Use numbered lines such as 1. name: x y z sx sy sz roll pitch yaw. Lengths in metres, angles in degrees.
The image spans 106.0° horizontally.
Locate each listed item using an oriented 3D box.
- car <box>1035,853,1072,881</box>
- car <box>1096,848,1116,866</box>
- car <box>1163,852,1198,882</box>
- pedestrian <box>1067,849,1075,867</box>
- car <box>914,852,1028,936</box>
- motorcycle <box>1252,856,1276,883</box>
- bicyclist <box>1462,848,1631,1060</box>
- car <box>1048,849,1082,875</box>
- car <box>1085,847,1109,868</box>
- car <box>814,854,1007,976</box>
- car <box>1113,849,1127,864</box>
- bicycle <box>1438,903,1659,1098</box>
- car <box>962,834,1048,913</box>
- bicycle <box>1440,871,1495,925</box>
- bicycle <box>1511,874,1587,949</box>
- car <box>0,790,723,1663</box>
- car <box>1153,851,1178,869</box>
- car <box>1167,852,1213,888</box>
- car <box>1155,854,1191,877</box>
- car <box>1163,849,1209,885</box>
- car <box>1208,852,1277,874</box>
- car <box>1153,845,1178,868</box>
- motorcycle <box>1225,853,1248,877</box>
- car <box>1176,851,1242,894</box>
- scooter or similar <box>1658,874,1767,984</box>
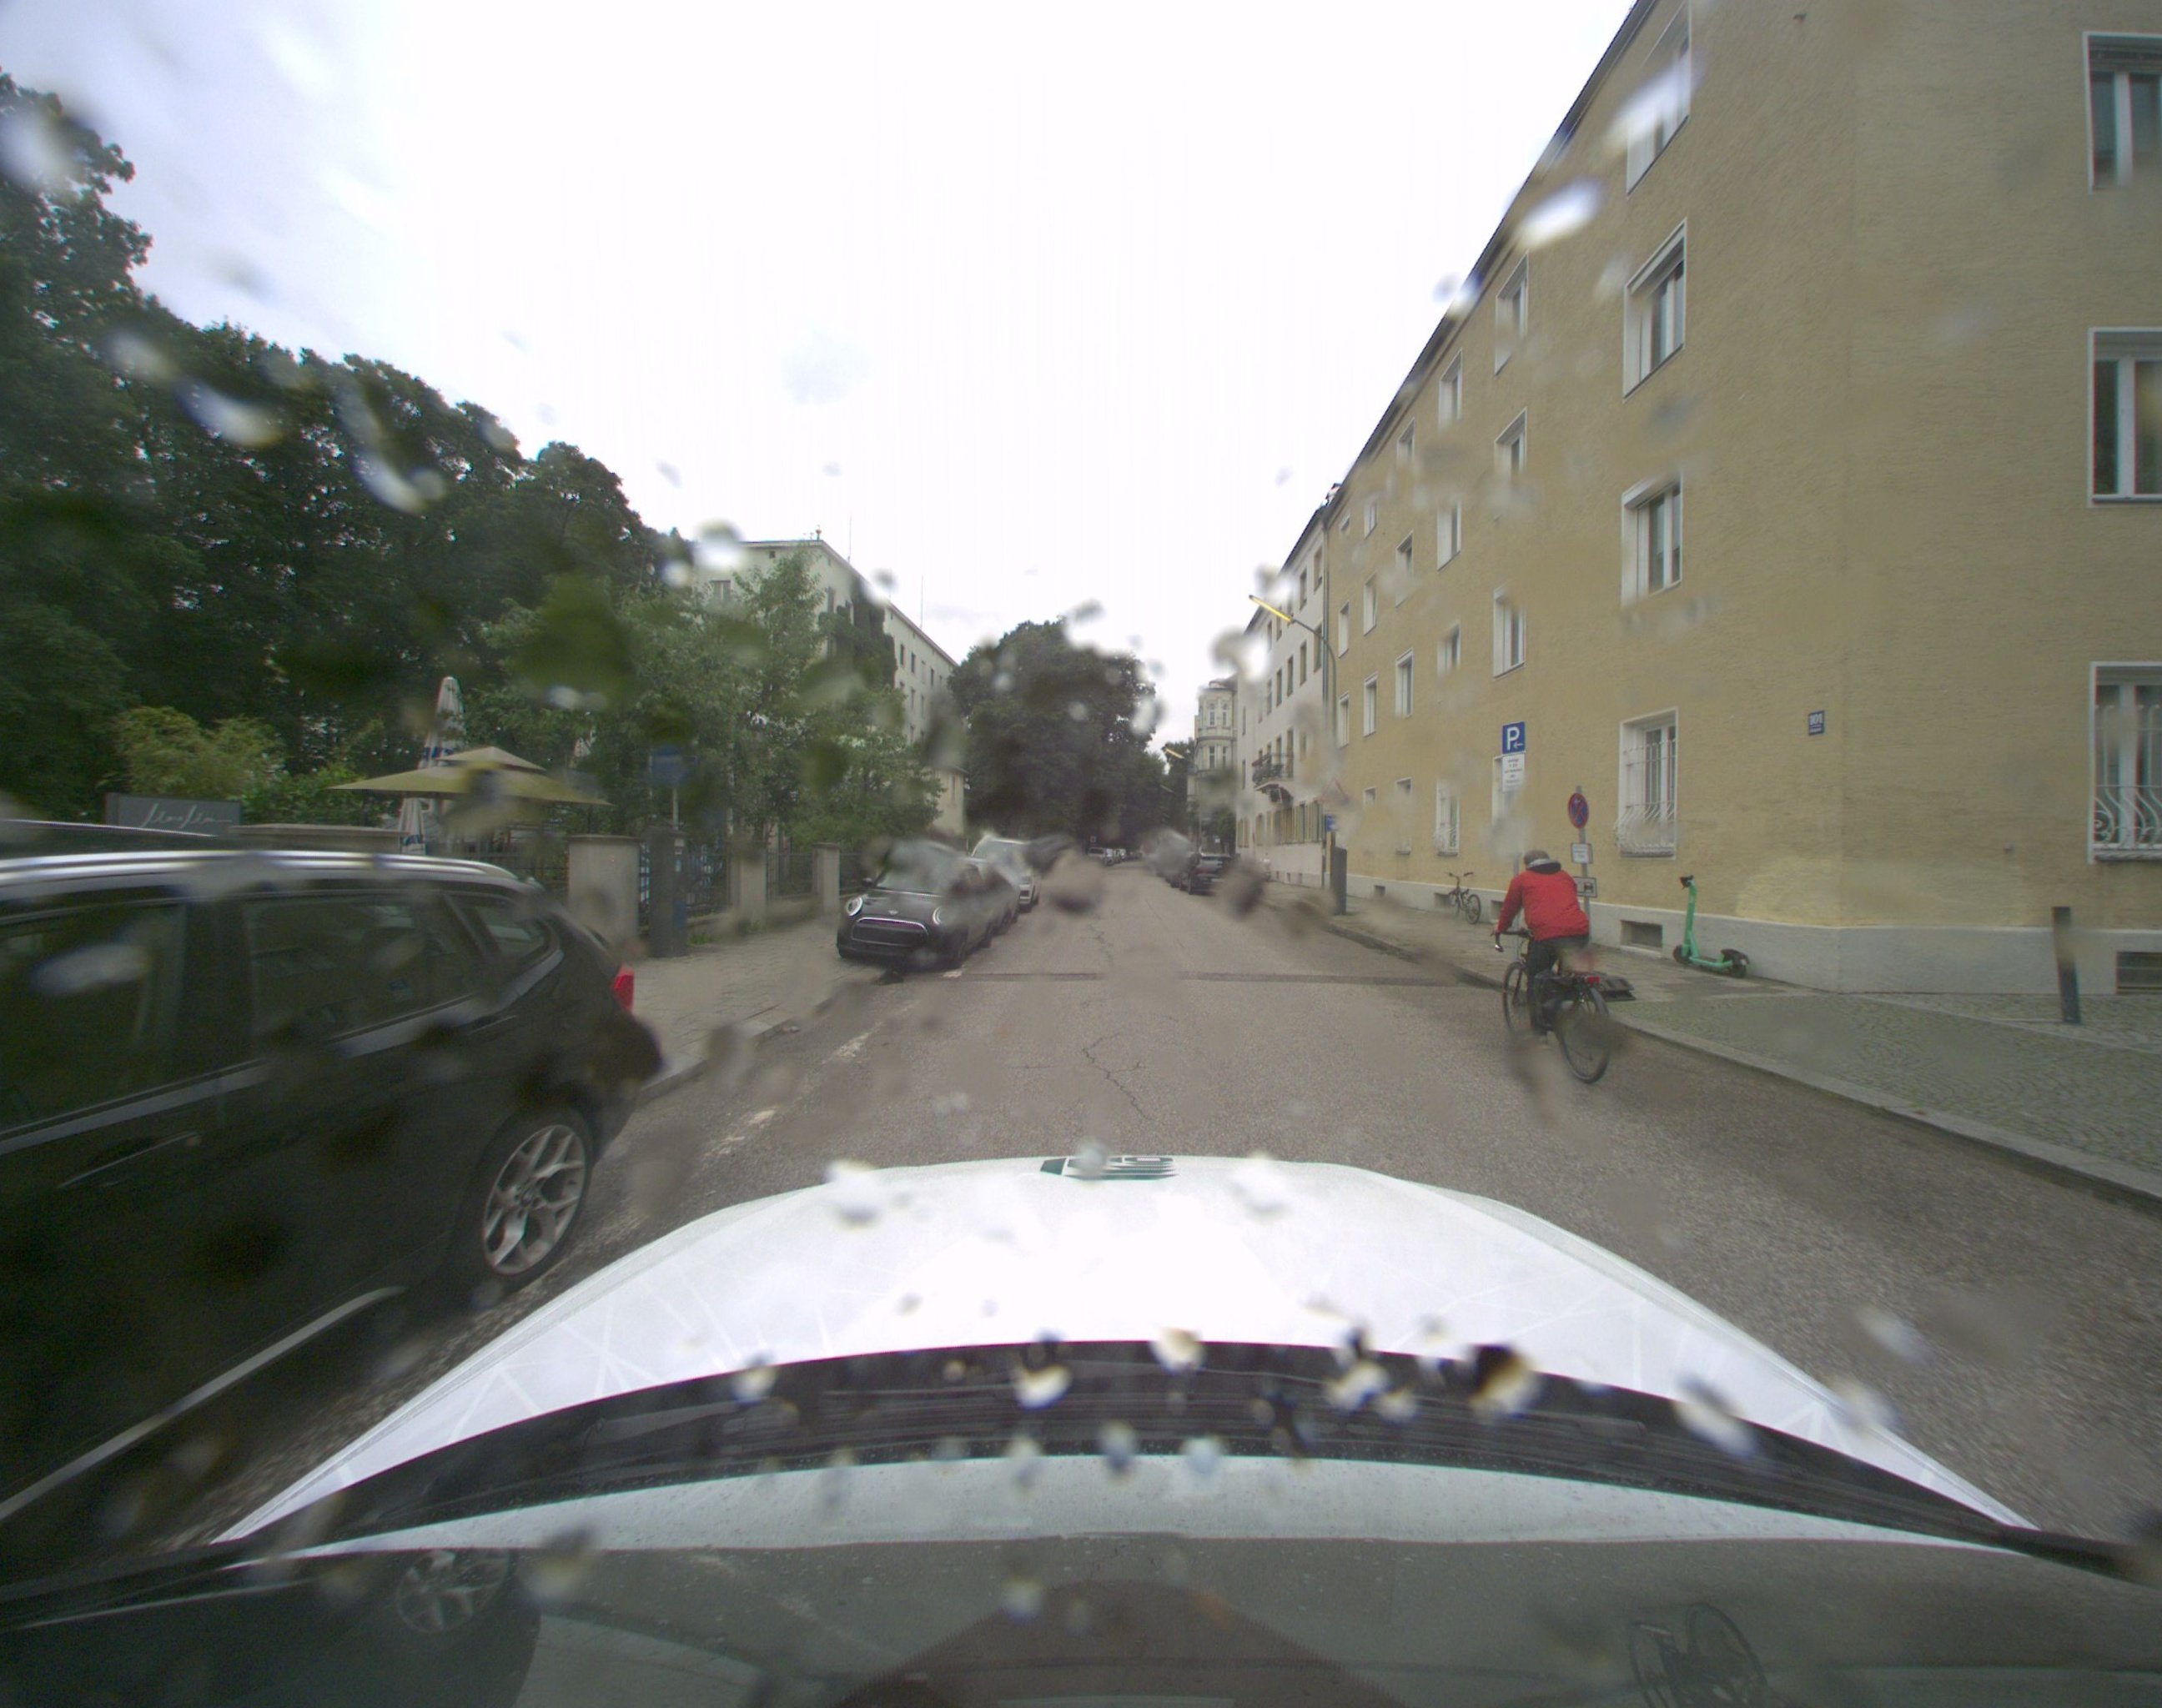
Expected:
1. car: -1.441 0.650 44.418 1.801 1.402 4.923 2 0 0
2. car: 2.956 0.372 93.917 2.175 1.956 5.169 2 0 2
3. car: 5.835 0.722 47.961 1.762 1.546 3.716 5 0 5
4. pedestrian: -0.896 0.375 74.501 0.711 1.548 0.752 2 0 -1
5. car: -2.218 0.750 17.663 1.881 1.543 4.694 1 0 -1
6. motorcycle: 9.021 0.745 40.175 0.729 1.239 2.008 2 0 1
7. bicyclist: 3.545 0.713 6.293 0.751 1.483 0.982 2 0 4
8. car: -1.019 0.498 54.151 1.880 1.590 4.530 2 0 2
9. car: 1.701 0.314 82.242 2.239 1.956 5.456 2 0 2
10. car: -2.385 0.789 12.574 1.851 1.544 4.191 -1 0 3
11. car: 6.091 0.412 126.825 1.993 2.186 4.701 2 0 4
12. bicycle: 3.523 1.024 6.374 0.669 1.141 2.013 2 0 4
13. car: -2.068 0.499 23.639 1.960 1.990 5.151 2 0 0
14. bicycle: 8.407 0.922 17.773 0.341 1.082 1.814 -2 0 2
15. bicycle: 7.959 0.941 13.920 0.341 1.135 1.760 0 0 2
16. car: -2.871 0.657 1.704 1.837 1.607 4.747 2 0 4
17. car: 7.810 0.566 74.926 2.260 1.546 4.596 -1 0 7
18. car: 5.033 0.700 38.052 1.830 1.531 4.420 0 0 4
19. car: 5.897 0.709 52.843 1.992 1.319 4.598 -2 0 2
20. car: 5.525 0.642 43.344 1.985 1.707 4.538 2 0 3
21. car: 12.125 0.678 61.291 4.887 1.531 1.915 0 2 2
22. car: 8.454 0.217 81.872 2.194 2.208 4.859 -1 0 3
23. motorcycle: 9.332 0.642 48.967 0.854 1.433 2.707 1 0 1
24. car: 5.026 0.667 32.608 1.854 1.577 4.899 0 0 0
25. scooter or similar: 7.816 0.888 10.137 0.341 1.255 1.310 -1 0 2
